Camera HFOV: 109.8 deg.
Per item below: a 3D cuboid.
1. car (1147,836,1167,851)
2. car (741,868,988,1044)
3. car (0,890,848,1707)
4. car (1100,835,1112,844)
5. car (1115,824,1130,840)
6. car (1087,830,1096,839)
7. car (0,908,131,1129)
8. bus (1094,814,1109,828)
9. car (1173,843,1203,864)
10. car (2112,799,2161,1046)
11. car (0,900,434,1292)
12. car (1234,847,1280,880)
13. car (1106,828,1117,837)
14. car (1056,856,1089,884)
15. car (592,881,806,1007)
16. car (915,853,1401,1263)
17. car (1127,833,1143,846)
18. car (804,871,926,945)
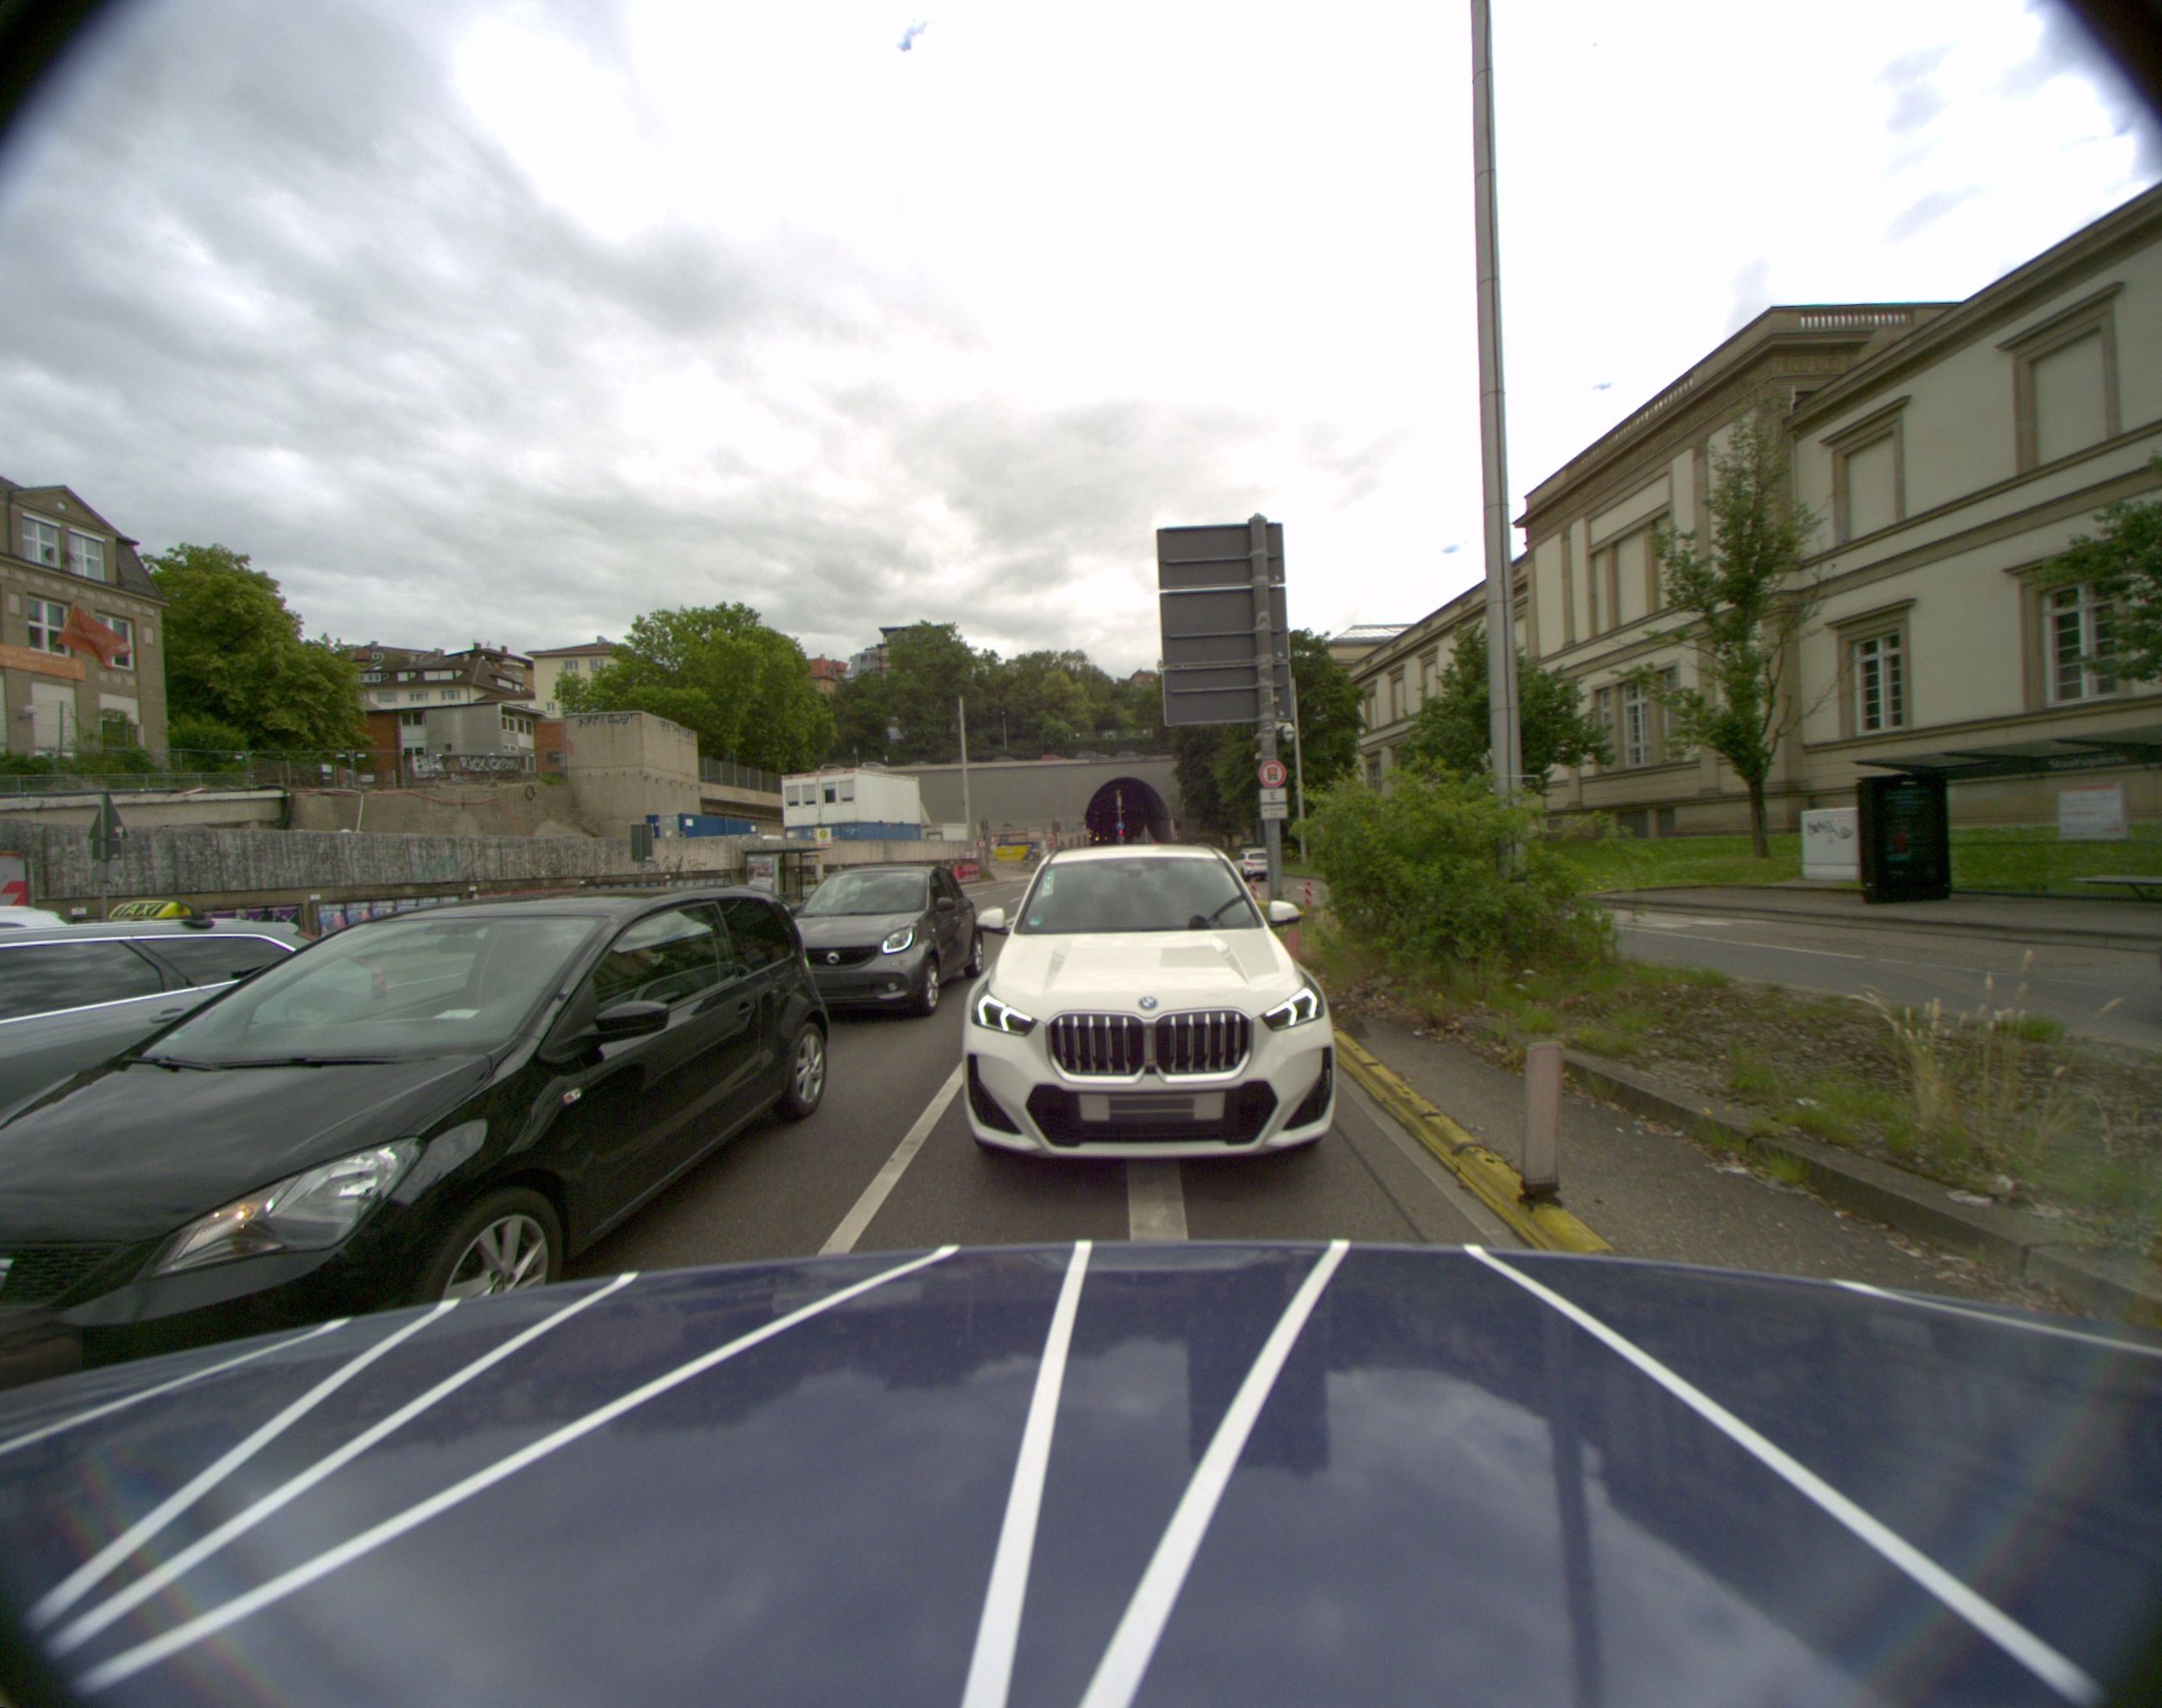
[{"bbox_3d":[8.321,-1.139,83.587,1.646,1.469,3.574,-2,0,-2],"label":"car"},{"bbox_3d":[-2.245,0.988,8.892,1.720,1.535,3.575,-2,0,2],"label":"car"},{"bbox_3d":[-2.563,1.025,3.343,1.829,1.450,3.700,-2,1,1],"label":"car"},{"bbox_3d":[3.898,-2.284,119.024,1.680,1.358,3.806,-2,1,1],"label":"car"},{"bbox_3d":[6.742,-3.564,124.107,2.203,2.493,4.758,-2,1,2],"label":"car"},{"bbox_3d":[1.895,-3.505,137.198,1.680,1.358,3.806,-2,1,1],"label":"car"},{"bbox_3d":[-9.098,1.328,4.445,1.680,1.615,4.209,-2,1,1],"label":"car"},{"bbox_3d":[4.910,-7.920,183.065,3.171,3.129,9.118,-2,1,-1],"label":"bus"},{"bbox_3d":[9.101,-0.049,64.748,1.875,1.681,4.267,-2,1,0],"label":"car"},{"bbox_3d":[8.579,0.463,3.615,1.837,1.736,3.998,-2,1,-4],"label":"car"},{"bbox_3d":[-5.848,1.215,3.304,1.829,1.615,4.808,-2,1,1],"label":"car"},{"bbox_3d":[9.327,0.502,40.623,1.902,1.615,4.110,-2,0,7],"label":"car"},{"bbox_3d":[6.111,-4.295,151.469,1.946,1.714,4.000,-2,1,4],"label":"car"},{"bbox_3d":[-0.456,0.924,44.965,1.680,1.450,3.807,-2,1,3],"label":"car"},{"bbox_3d":[-5.390,1.205,11.102,1.665,1.423,2.714,-2,1,1],"label":"car"},{"bbox_3d":[0.306,0.853,5.026,1.988,1.615,3.669,-2,1,-1],"label":"car"},{"bbox_3d":[7.197,-1.886,101.666,1.778,1.609,3.802,-2,1,-1],"label":"car"},{"bbox_3d":[-4.908,1.175,17.813,1.680,1.358,3.806,-2,1,1],"label":"car"}]
